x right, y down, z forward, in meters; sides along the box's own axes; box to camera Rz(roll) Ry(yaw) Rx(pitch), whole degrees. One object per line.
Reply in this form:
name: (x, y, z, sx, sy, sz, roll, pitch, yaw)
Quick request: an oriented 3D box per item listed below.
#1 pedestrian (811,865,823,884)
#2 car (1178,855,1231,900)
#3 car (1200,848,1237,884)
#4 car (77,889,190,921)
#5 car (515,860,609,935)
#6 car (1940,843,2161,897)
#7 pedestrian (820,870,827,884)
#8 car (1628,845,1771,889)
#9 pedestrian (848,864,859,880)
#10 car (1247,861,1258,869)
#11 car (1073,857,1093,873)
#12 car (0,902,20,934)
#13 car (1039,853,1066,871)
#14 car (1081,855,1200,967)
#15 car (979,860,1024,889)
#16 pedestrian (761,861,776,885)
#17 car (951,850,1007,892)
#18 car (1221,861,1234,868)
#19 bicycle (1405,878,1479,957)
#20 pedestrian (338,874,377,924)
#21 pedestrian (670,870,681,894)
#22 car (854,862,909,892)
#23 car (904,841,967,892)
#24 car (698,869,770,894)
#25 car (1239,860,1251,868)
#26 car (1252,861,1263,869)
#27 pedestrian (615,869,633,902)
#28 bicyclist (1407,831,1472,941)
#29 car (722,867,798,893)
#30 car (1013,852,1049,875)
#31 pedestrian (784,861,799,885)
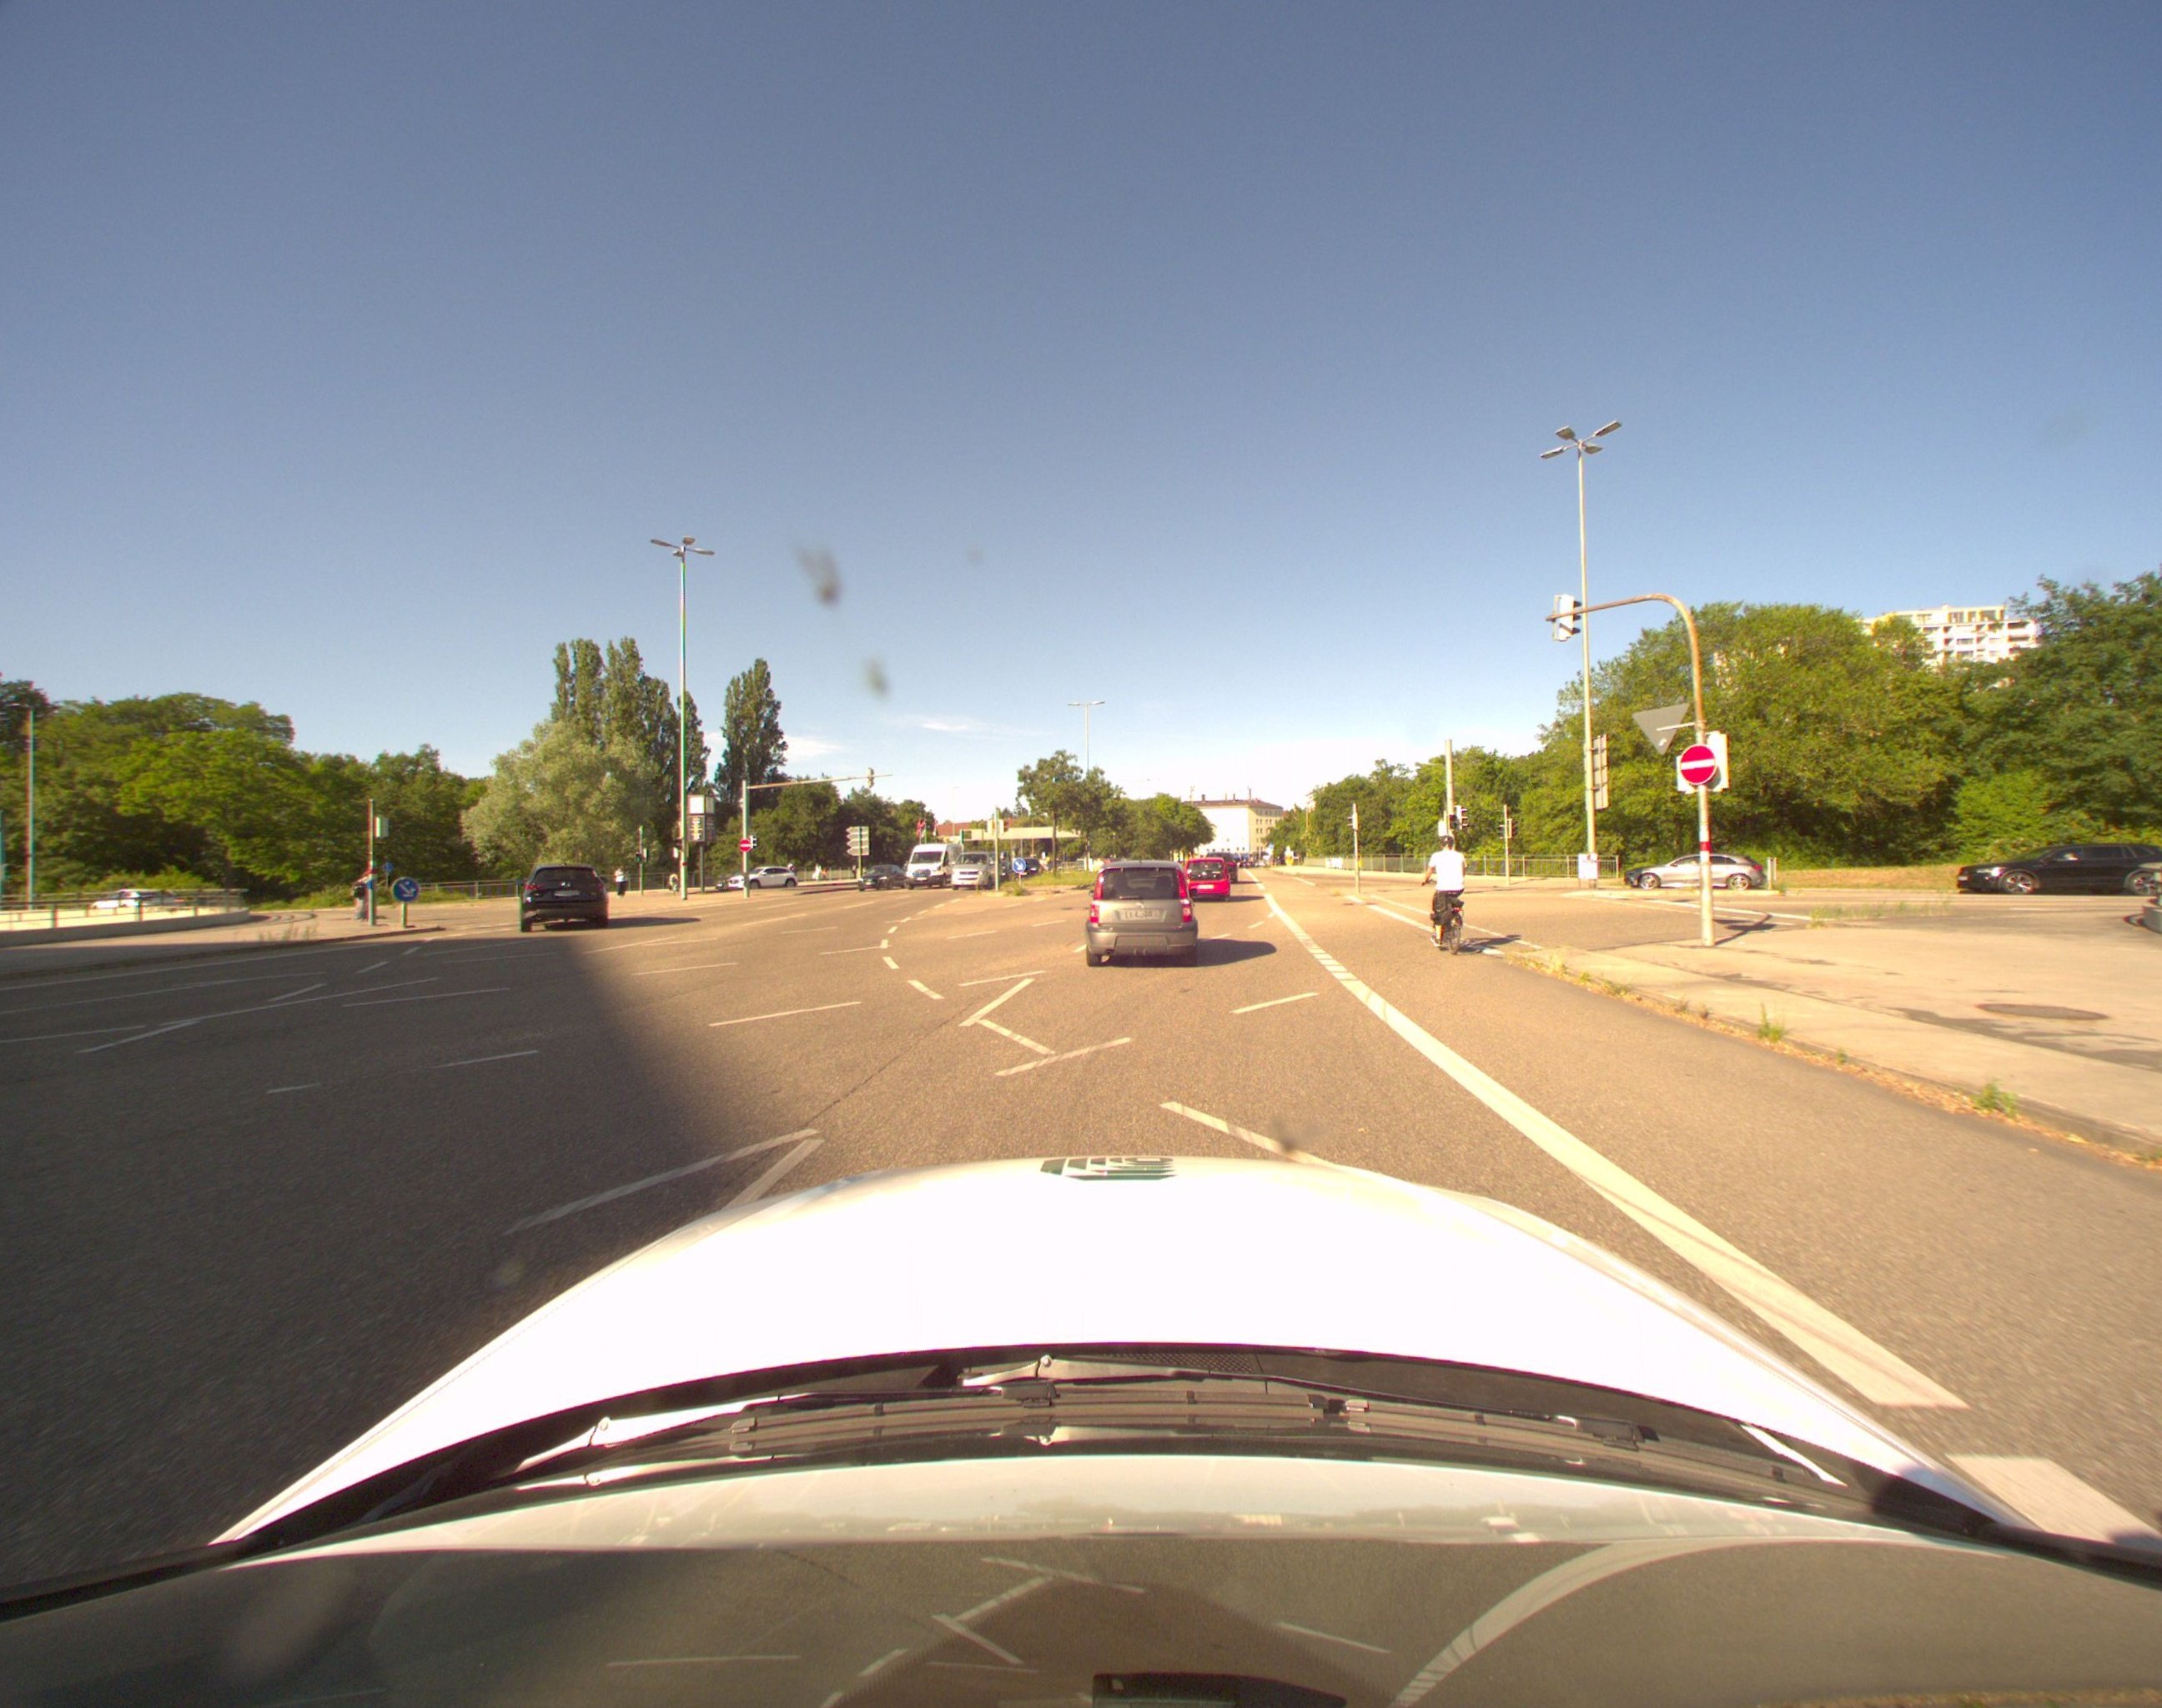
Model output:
pedestrian: (-22.904, 1.770, 70.642, 0.716, 1.641, 0.674, 0, -3, 9)
car: (4.224, 0.775, 28.270, 1.609, 1.463, 3.757, -1, 0, 6)
car: (7.546, 0.658, 44.496, 1.933, 1.840, 4.164, 0, -1, 10)
car: (-46.004, 2.468, 39.573, 4.274, 1.415, 1.793, -1, -1, 13)
car: (-13.425, 1.061, 21.138, 1.887, 1.709, 4.154, -1, -1, -32)
car: (30.993, 0.515, 25.925, 4.619, 1.616, 1.872, -1, -1, 27)
pedestrian: (-22.306, 1.987, 70.498, 0.421, 1.136, 0.398, 0, -3, 9)
car: (23.413, 0.495, 30.960, 4.190, 1.552, 1.873, -1, -1, 38)
pedestrian: (-22.431, 1.758, 80.181, 0.664, 1.503, 0.783, -1, -3, 23)
car: (40.151, 2.515, 190.806, 1.849, 1.681, 3.929, -1, -3, 24)
car: (0.312, 1.390, 103.316, 1.983, 2.014, 4.341, -2, -1, 6)
car: (-55.325, 3.215, 40.055, 3.967, 1.508, 2.003, -1, 0, 5)
car: (-2.612, 0.747, 76.819, 1.927, 1.622, 4.512, -1, 0, 5)
car: (0.954, 0.784, 13.016, 1.610, 1.515, 3.824, -1, 0, 4)
car: (-4.760, 1.187, 49.085, 1.928, 1.622, 4.510, -1, 0, 4)
pedestrian: (-25.115, 1.504, 65.490, 0.831, 1.917, 0.789, 0, -3, 9)
car: (-5.212, 0.858, 42.296, 1.928, 2.008, 4.937, -1, 0, 4)
car: (35.279, 2.572, 195.556, 1.927, 1.528, 4.121, -1, -1, 26)
bicycle: (5.625, 0.950, 12.803, 0.687, 1.102, 1.832, 0, -1, 11)
pedestrian: (-21.940, 1.351, 24.707, 0.682, 1.463, 0.698, -1, -1, -22)
pedestrian: (-26.903, 1.868, 54.003, 0.560, 1.547, 0.570, -1, -2, -32)
car: (-11.107, 1.242, 45.609, 1.930, 1.507, 4.001, -3, 0, 1)
car: (-7.975, 0.671, 45.270, 1.928, 2.576, 6.095, -1, 0, 4)
car: (-23.381, 1.849, 54.998, 1.876, 1.625, 4.025, -2, -3, 35)
car: (37.069, 2.325, 183.627, 1.849, 1.681, 3.930, -1, -3, 24)
car: (42.856, 2.695, 197.994, 1.848, 1.681, 3.930, -1, -3, 25)
pedestrian: (-22.492, 1.546, 40.073, 0.714, 1.547, 0.721, -1, -1, -32)
bicyclist: (5.637, 0.483, 12.855, 0.719, 1.659, 1.116, 0, -1, 11)
car: (-20.612, 1.651, 52.481, 1.762, 1.535, 4.356, 0, 0, 33)
car: (-3.629, 0.682, 59.534, 1.927, 1.622, 4.512, -1, 0, 5)
pedestrian: (-23.626, 1.551, 66.517, 0.801, 1.997, 0.789, 0, -3, 9)
